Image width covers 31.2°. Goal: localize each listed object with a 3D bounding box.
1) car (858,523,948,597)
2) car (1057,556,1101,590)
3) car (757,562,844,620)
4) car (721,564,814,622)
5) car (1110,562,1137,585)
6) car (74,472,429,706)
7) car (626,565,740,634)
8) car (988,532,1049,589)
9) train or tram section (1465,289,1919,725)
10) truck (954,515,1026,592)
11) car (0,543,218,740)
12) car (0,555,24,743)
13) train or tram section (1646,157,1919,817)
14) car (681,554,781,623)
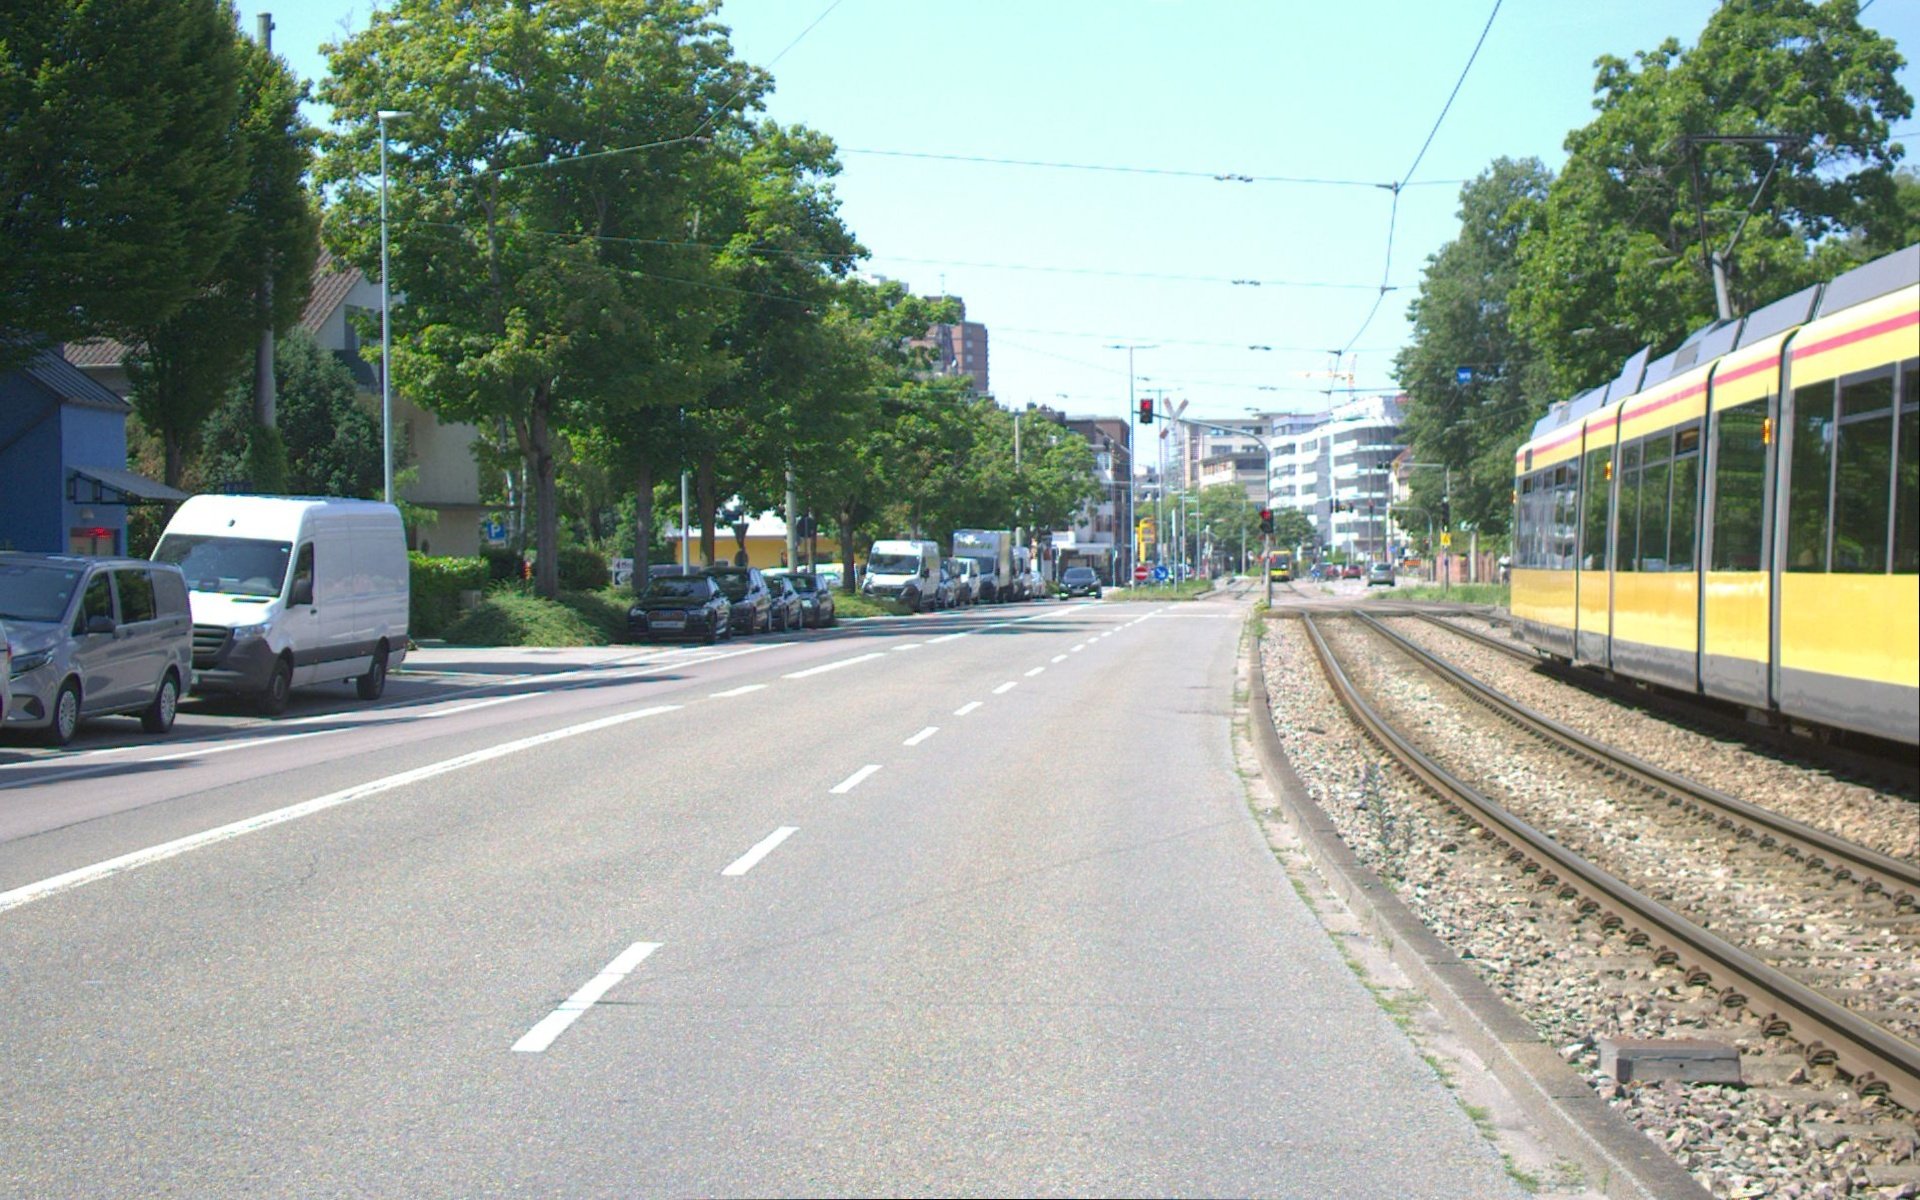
[{"bbox_3d":[-1.984,-1.435,122.305,2.157,2.478,6.191,3,1,8],"label":"car"},{"bbox_3d":[5.312,-1.222,153.210,1.775,1.455,4.194,-2,1,4],"label":"car"},{"bbox_3d":[-4.268,-0.253,92.653,1.775,1.476,4.047,1,1,5],"label":"car"},{"bbox_3d":[-4.880,-0.203,87.805,1.775,1.368,4.696,2,1,4],"label":"car"},{"bbox_3d":[10.809,-1.737,226.607,1.678,1.393,4.005,-3,0,3],"label":"car"},{"bbox_3d":[-8.971,-0.186,44.369,2.324,2.642,7.033,4,1,6],"label":"car"},{"bbox_3d":[-5.976,-0.034,74.651,1.775,1.451,4.804,0,1,4],"label":"car"},{"bbox_3d":[2.828,-1.906,164.982,2.157,2.630,5.610,3,1,8],"label":"car"},{"bbox_3d":[8.038,-0.942,39.260,2.944,3.679,20.281,1,1,4],"label":"train or tram section"},{"bbox_3d":[1.347,-2.048,150.242,2.157,3.199,7.080,3,1,8],"label":"truck"},{"bbox_3d":[-9.449,0.369,35.983,1.806,1.889,5.361,-1,1,5],"label":"car"},{"bbox_3d":[-9.886,0.501,30.354,1.716,1.746,4.904,-1,1,2],"label":"car"},{"bbox_3d":[6.867,-0.640,20.017,2.944,3.679,18.388,0,1,3],"label":"train or tram section"},{"bbox_3d":[-5.471,-0.300,82.504,1.775,1.598,4.637,1,1,4],"label":"car"}]
